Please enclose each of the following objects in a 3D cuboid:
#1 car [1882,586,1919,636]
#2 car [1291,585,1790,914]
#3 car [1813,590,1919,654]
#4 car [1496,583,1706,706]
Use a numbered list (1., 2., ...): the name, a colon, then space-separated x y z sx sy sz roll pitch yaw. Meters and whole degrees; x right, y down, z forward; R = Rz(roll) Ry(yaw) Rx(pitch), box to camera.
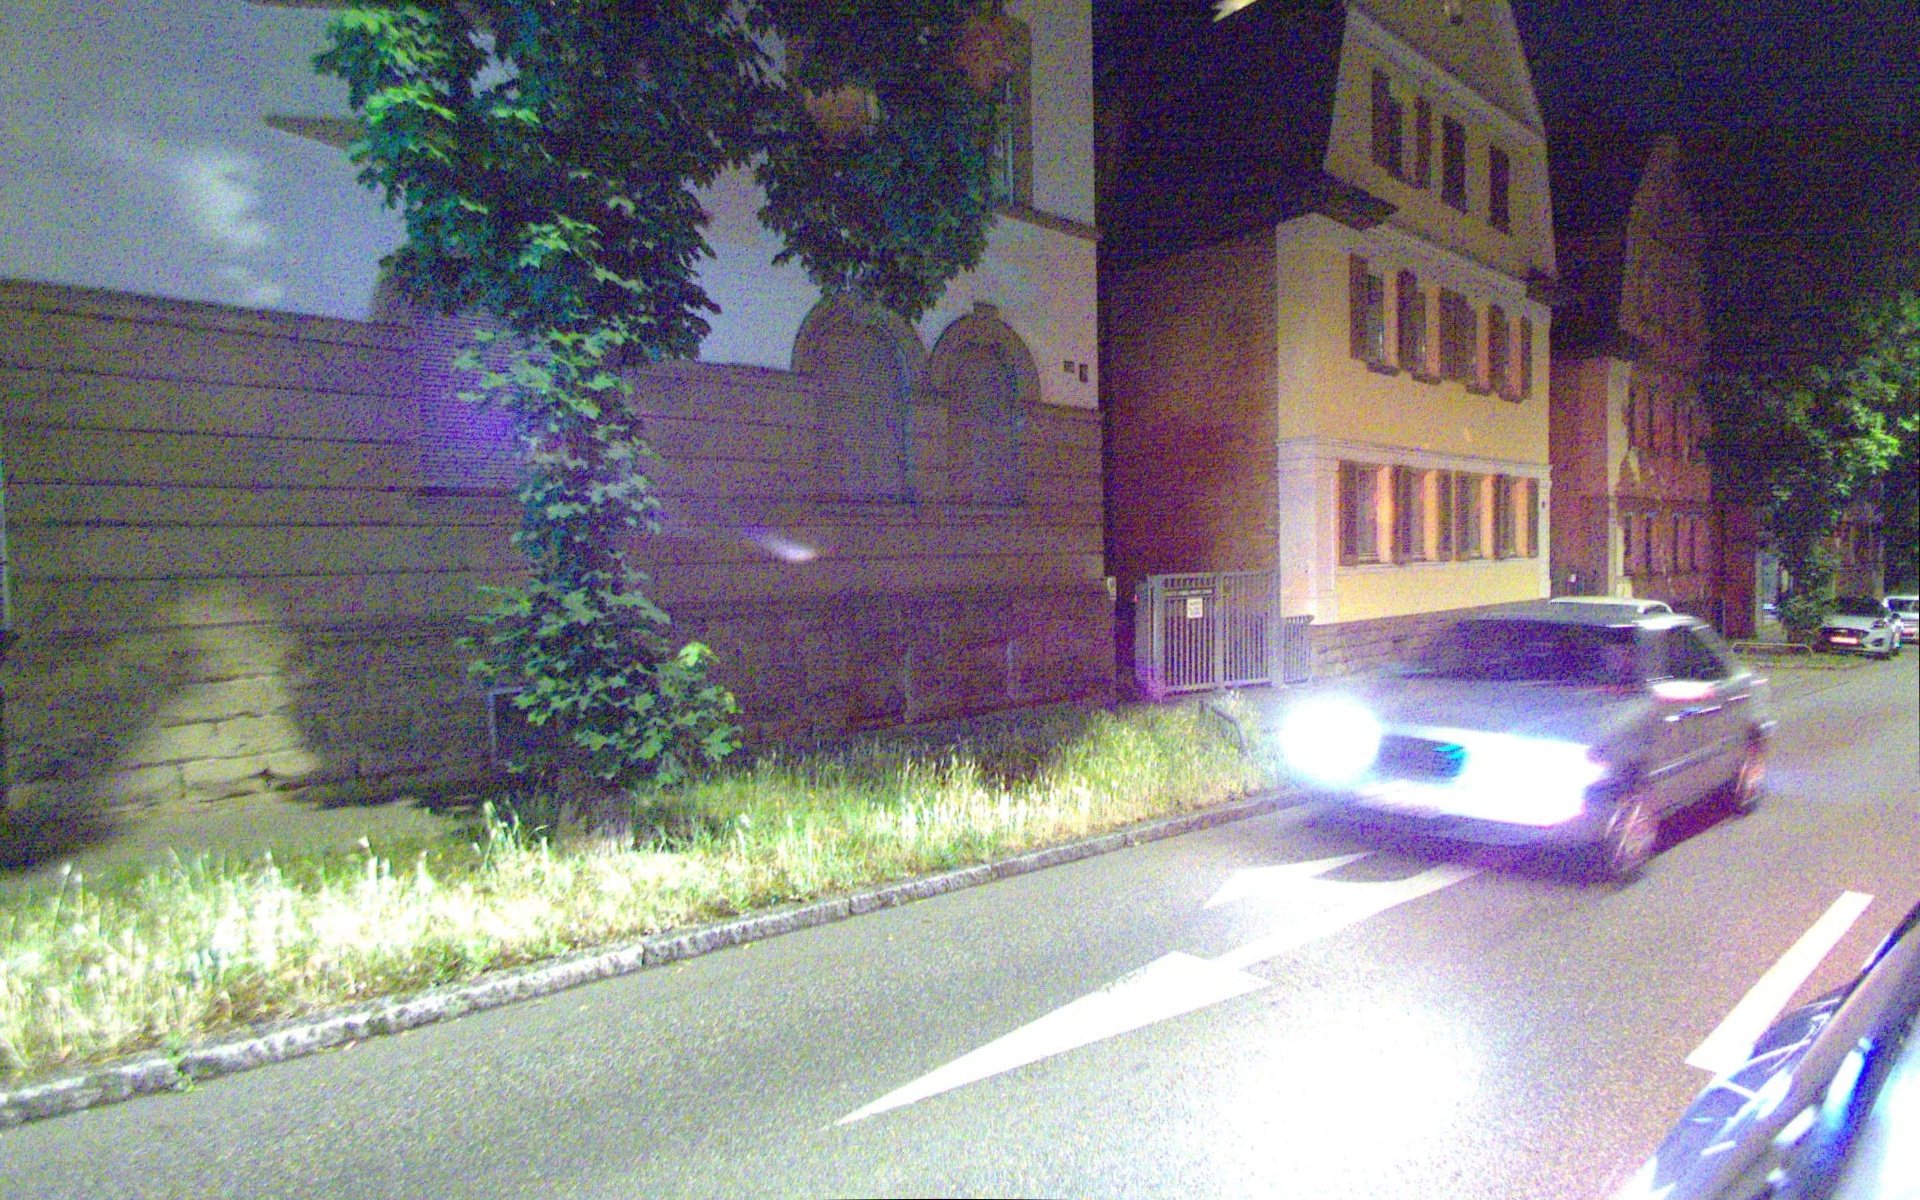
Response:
1. car: 33.538 0.368 35.140 4.107 1.673 1.850 0 0 -42
2. car: 3.982 0.664 6.646 3.933 1.505 1.778 -1 0 -43
3. car: 23.614 0.509 26.282 3.824 1.516 1.740 0 2 -43
4. car: 9.291 0.558 14.597 3.425 1.527 1.610 0 2 -41
